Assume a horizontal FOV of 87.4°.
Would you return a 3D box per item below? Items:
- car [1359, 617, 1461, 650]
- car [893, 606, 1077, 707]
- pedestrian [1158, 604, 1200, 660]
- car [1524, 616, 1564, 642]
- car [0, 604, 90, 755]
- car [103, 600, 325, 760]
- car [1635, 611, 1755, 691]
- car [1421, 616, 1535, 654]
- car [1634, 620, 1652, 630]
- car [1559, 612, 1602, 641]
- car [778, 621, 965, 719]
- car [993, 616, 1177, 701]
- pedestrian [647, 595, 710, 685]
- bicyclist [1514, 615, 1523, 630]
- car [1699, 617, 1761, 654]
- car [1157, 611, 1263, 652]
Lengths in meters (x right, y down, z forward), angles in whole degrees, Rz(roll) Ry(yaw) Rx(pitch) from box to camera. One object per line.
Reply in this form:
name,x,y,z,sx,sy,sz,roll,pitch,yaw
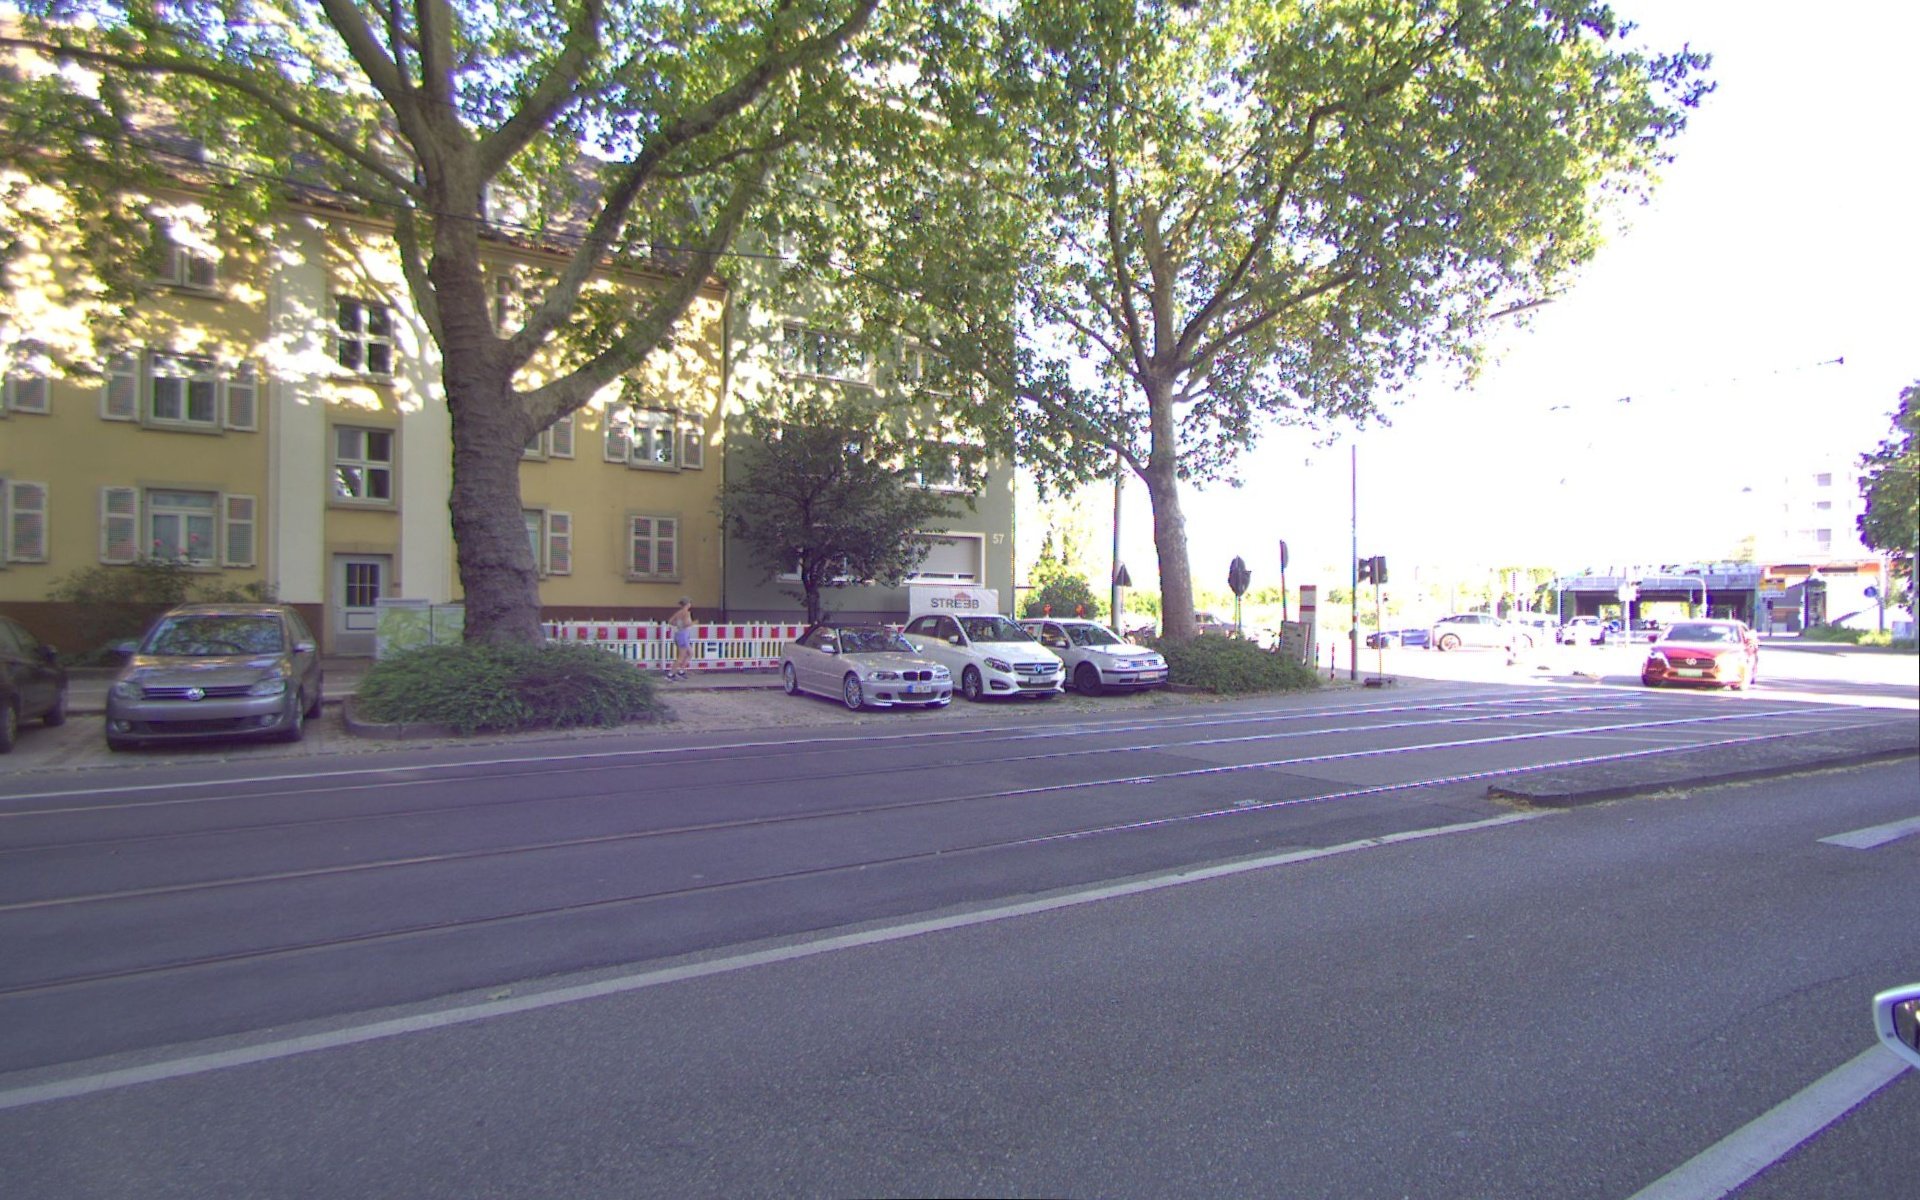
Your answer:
car,21.847,1.621,48.886,4.176,1.575,1.711,0,-1,7
car,0.356,0.982,19.166,1.651,1.669,3.949,1,0,-31
pedestrian,6.794,0.986,31.152,0.919,1.669,0.841,2,0,-30
car,38.822,1.915,66.697,1.860,1.606,3.823,2,0,37
car,-11.459,0.832,11.397,1.652,1.518,3.778,1,0,-29
car,-8.993,0.831,12.428,1.652,1.602,3.953,1,0,-29
car,16.586,1.066,22.576,1.992,1.586,4.472,0,-1,39
car,22.015,1.463,42.889,4.123,1.539,1.803,0,-1,20
car,83.278,3.039,122.444,1.555,1.277,3.421,0,-1,30
car,37.284,1.596,60.335,1.860,1.606,3.823,2,0,37
car,-1.644,1.108,17.321,1.651,1.370,3.949,1,0,-31
car,2.447,1.109,20.540,1.651,1.473,3.949,1,0,-31
pedestrian,-5.491,0.770,19.572,0.946,1.683,0.767,2,0,-35
bicyclist,45.270,1.821,81.406,0.519,1.239,0.528,0,0,37
car,35.759,1.620,46.748,1.964,1.572,4.185,2,0,33
car,12.034,1.509,48.349,4.751,1.907,1.915,0,-1,20
